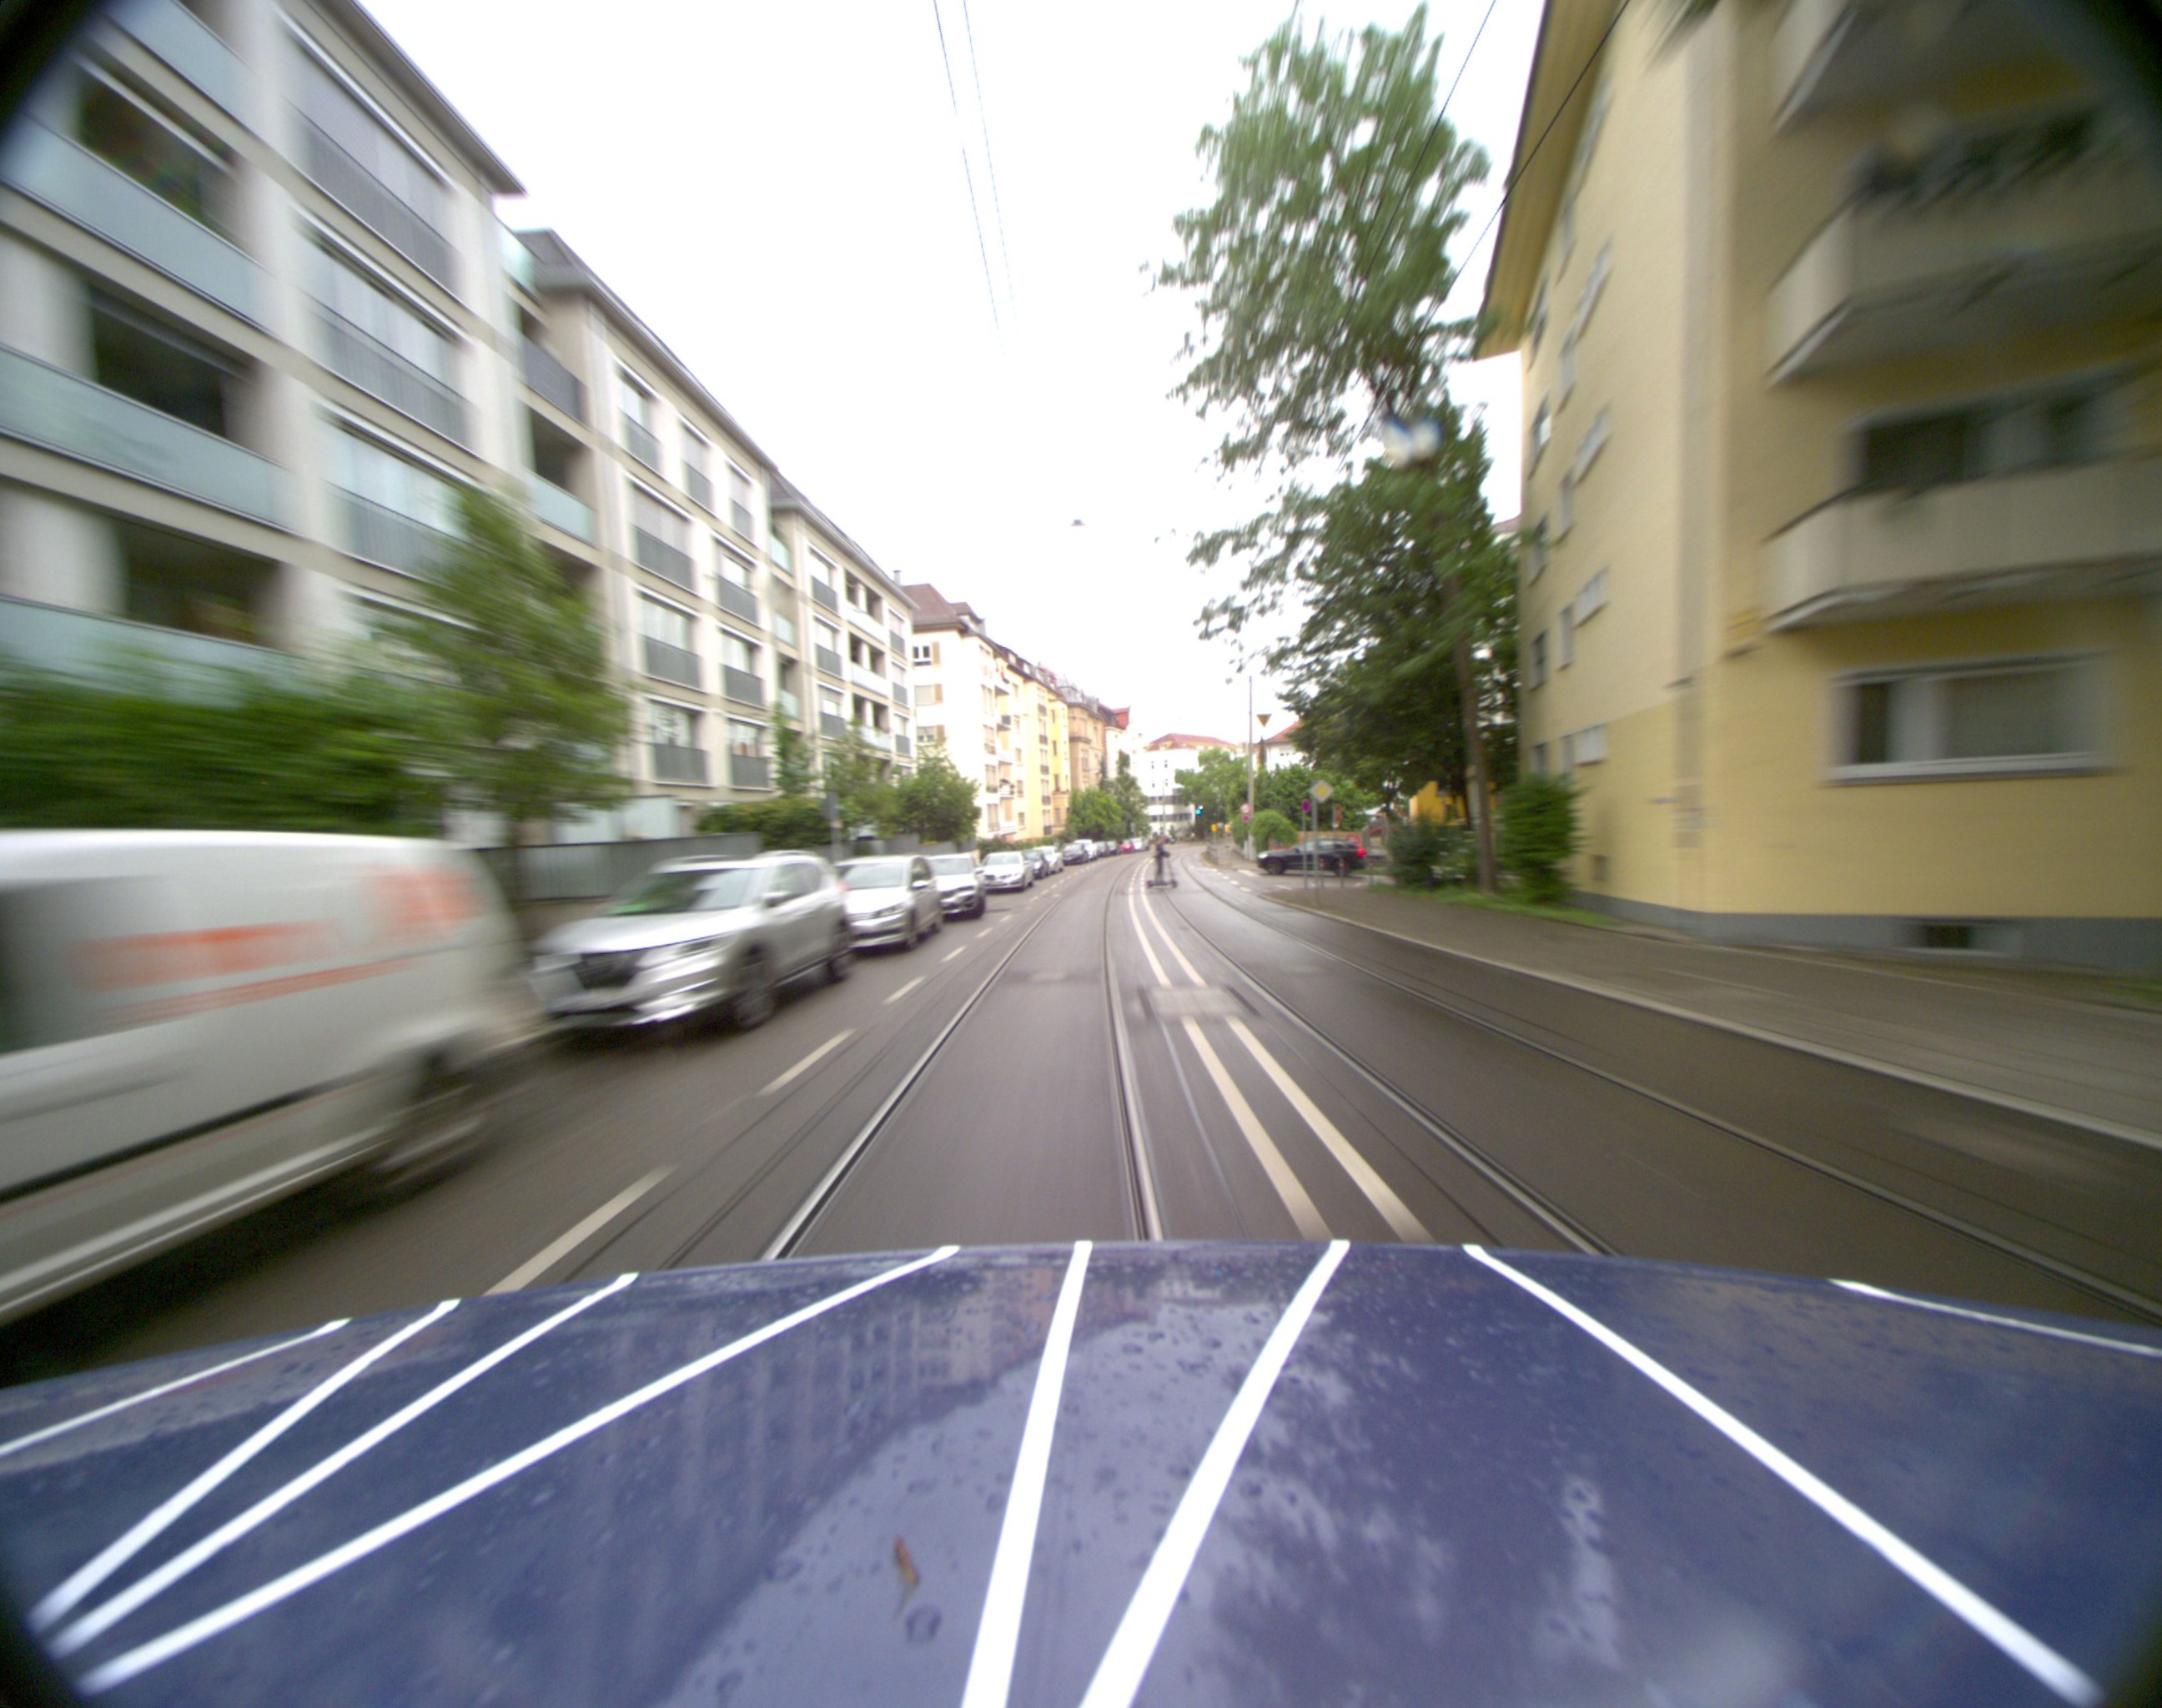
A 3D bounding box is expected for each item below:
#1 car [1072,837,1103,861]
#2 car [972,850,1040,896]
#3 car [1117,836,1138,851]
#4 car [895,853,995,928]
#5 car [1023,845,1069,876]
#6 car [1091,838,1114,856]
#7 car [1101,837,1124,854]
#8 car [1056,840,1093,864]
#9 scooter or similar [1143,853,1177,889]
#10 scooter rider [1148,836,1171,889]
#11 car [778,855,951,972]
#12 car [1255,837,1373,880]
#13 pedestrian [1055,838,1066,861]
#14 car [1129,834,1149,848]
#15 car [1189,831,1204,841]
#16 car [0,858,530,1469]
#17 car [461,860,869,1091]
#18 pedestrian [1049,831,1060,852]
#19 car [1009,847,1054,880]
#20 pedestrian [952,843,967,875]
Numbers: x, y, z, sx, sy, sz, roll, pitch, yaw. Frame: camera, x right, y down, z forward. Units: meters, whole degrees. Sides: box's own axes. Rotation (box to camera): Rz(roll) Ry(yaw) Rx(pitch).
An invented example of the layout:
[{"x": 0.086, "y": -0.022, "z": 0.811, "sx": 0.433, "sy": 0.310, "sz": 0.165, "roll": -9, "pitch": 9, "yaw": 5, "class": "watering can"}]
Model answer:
[{"x": 0.504, "y": -0.410, "z": 57.071, "sx": 1.798, "sy": 1.613, "sz": 3.868, "roll": -4, "pitch": 1, "yaw": 7, "class": "car"}, {"x": -2.804, "y": 0.677, "z": 29.533, "sx": 1.862, "sy": 1.507, "sz": 4.789, "roll": -3, "pitch": 1, "yaw": 3, "class": "car"}, {"x": 4.850, "y": -1.099, "z": 78.852, "sx": 1.556, "sy": 1.360, "sz": 3.126, "roll": -3, "pitch": 1, "yaw": 14, "class": "car"}, {"x": -3.392, "y": 0.832, "z": 19.784, "sx": 1.980, "sy": 1.576, "sz": 4.564, "roll": -3, "pitch": 1, "yaw": -4, "class": "car"}, {"x": -1.852, "y": 0.305, "z": 41.675, "sx": 1.721, "sy": 1.459, "sz": 4.392, "roll": -3, "pitch": 1, "yaw": 7, "class": "car"}, {"x": 1.922, "y": -0.636, "z": 66.599, "sx": 1.590, "sy": 1.434, "sz": 3.477, "roll": -4, "pitch": 1, "yaw": 7, "class": "car"}, {"x": 3.010, "y": -0.807, "z": 71.822, "sx": 1.658, "sy": 1.360, "sz": 3.637, "roll": -4, "pitch": 1, "yaw": 9, "class": "car"}, {"x": -0.412, "y": -0.169, "z": 52.408, "sx": 1.797, "sy": 1.444, "sz": 4.105, "roll": -4, "pitch": 1, "yaw": 10, "class": "car"}, {"x": 2.826, "y": 0.604, "z": 27.131, "sx": 1.088, "sy": 1.254, "sz": 0.645, "roll": -1, "pitch": 3, "yaw": 12, "class": "scooter or similar"}, {"x": 2.809, "y": 0.313, "z": 27.121, "sx": 0.688, "sy": 1.848, "sz": 0.645, "roll": -1, "pitch": 3, "yaw": 12, "class": "scooter rider"}, {"x": -3.712, "y": 0.917, "z": 13.997, "sx": 1.837, "sy": 1.618, "sz": 4.662, "roll": -3, "pitch": 1, "yaw": -1, "class": "car"}, {"x": 10.393, "y": 0.144, "z": 33.902, "sx": 4.759, "sy": 1.669, "sz": 2.074, "roll": 2, "pitch": 4, "yaw": 23, "class": "car"}, {"x": -1.504, "y": -0.332, "z": 55.367, "sx": 0.716, "sy": 1.703, "sz": 0.665, "roll": 0, "pitch": 2, "yaw": 10, "class": "pedestrian"}, {"x": 6.708, "y": -1.496, "z": 87.847, "sx": 1.612, "sy": 1.434, "sz": 3.690, "roll": -3, "pitch": 1, "yaw": 14, "class": "car"}, {"x": 20.531, "y": -3.222, "z": 134.895, "sx": 1.796, "sy": 1.502, "sz": 4.004, "roll": -1, "pitch": 3, "yaw": 21, "class": "car"}, {"x": -4.135, "y": 0.973, "z": 2.217, "sx": 1.783, "sy": 1.785, "sz": 4.470, "roll": -3, "pitch": 1, "yaw": -1, "class": "car"}, {"x": -3.968, "y": 0.990, "z": 8.408, "sx": 1.837, "sy": 1.647, "sz": 4.686, "roll": -3, "pitch": 1, "yaw": 0, "class": "car"}, {"x": -2.025, "y": -0.949, "z": 57.675, "sx": 0.666, "sy": 1.560, "sz": 0.915, "roll": 0, "pitch": 2, "yaw": 11, "class": "pedestrian"}, {"x": -2.342, "y": 0.423, "z": 36.867, "sx": 1.599, "sy": 1.416, "sz": 3.515, "roll": -3, "pitch": 1, "yaw": 5, "class": "car"}, {"x": -6.046, "y": 0.246, "z": 37.776, "sx": 0.583, "sy": 1.578, "sz": 0.568, "roll": -2, "pitch": 2, "yaw": -28, "class": "pedestrian"}]
